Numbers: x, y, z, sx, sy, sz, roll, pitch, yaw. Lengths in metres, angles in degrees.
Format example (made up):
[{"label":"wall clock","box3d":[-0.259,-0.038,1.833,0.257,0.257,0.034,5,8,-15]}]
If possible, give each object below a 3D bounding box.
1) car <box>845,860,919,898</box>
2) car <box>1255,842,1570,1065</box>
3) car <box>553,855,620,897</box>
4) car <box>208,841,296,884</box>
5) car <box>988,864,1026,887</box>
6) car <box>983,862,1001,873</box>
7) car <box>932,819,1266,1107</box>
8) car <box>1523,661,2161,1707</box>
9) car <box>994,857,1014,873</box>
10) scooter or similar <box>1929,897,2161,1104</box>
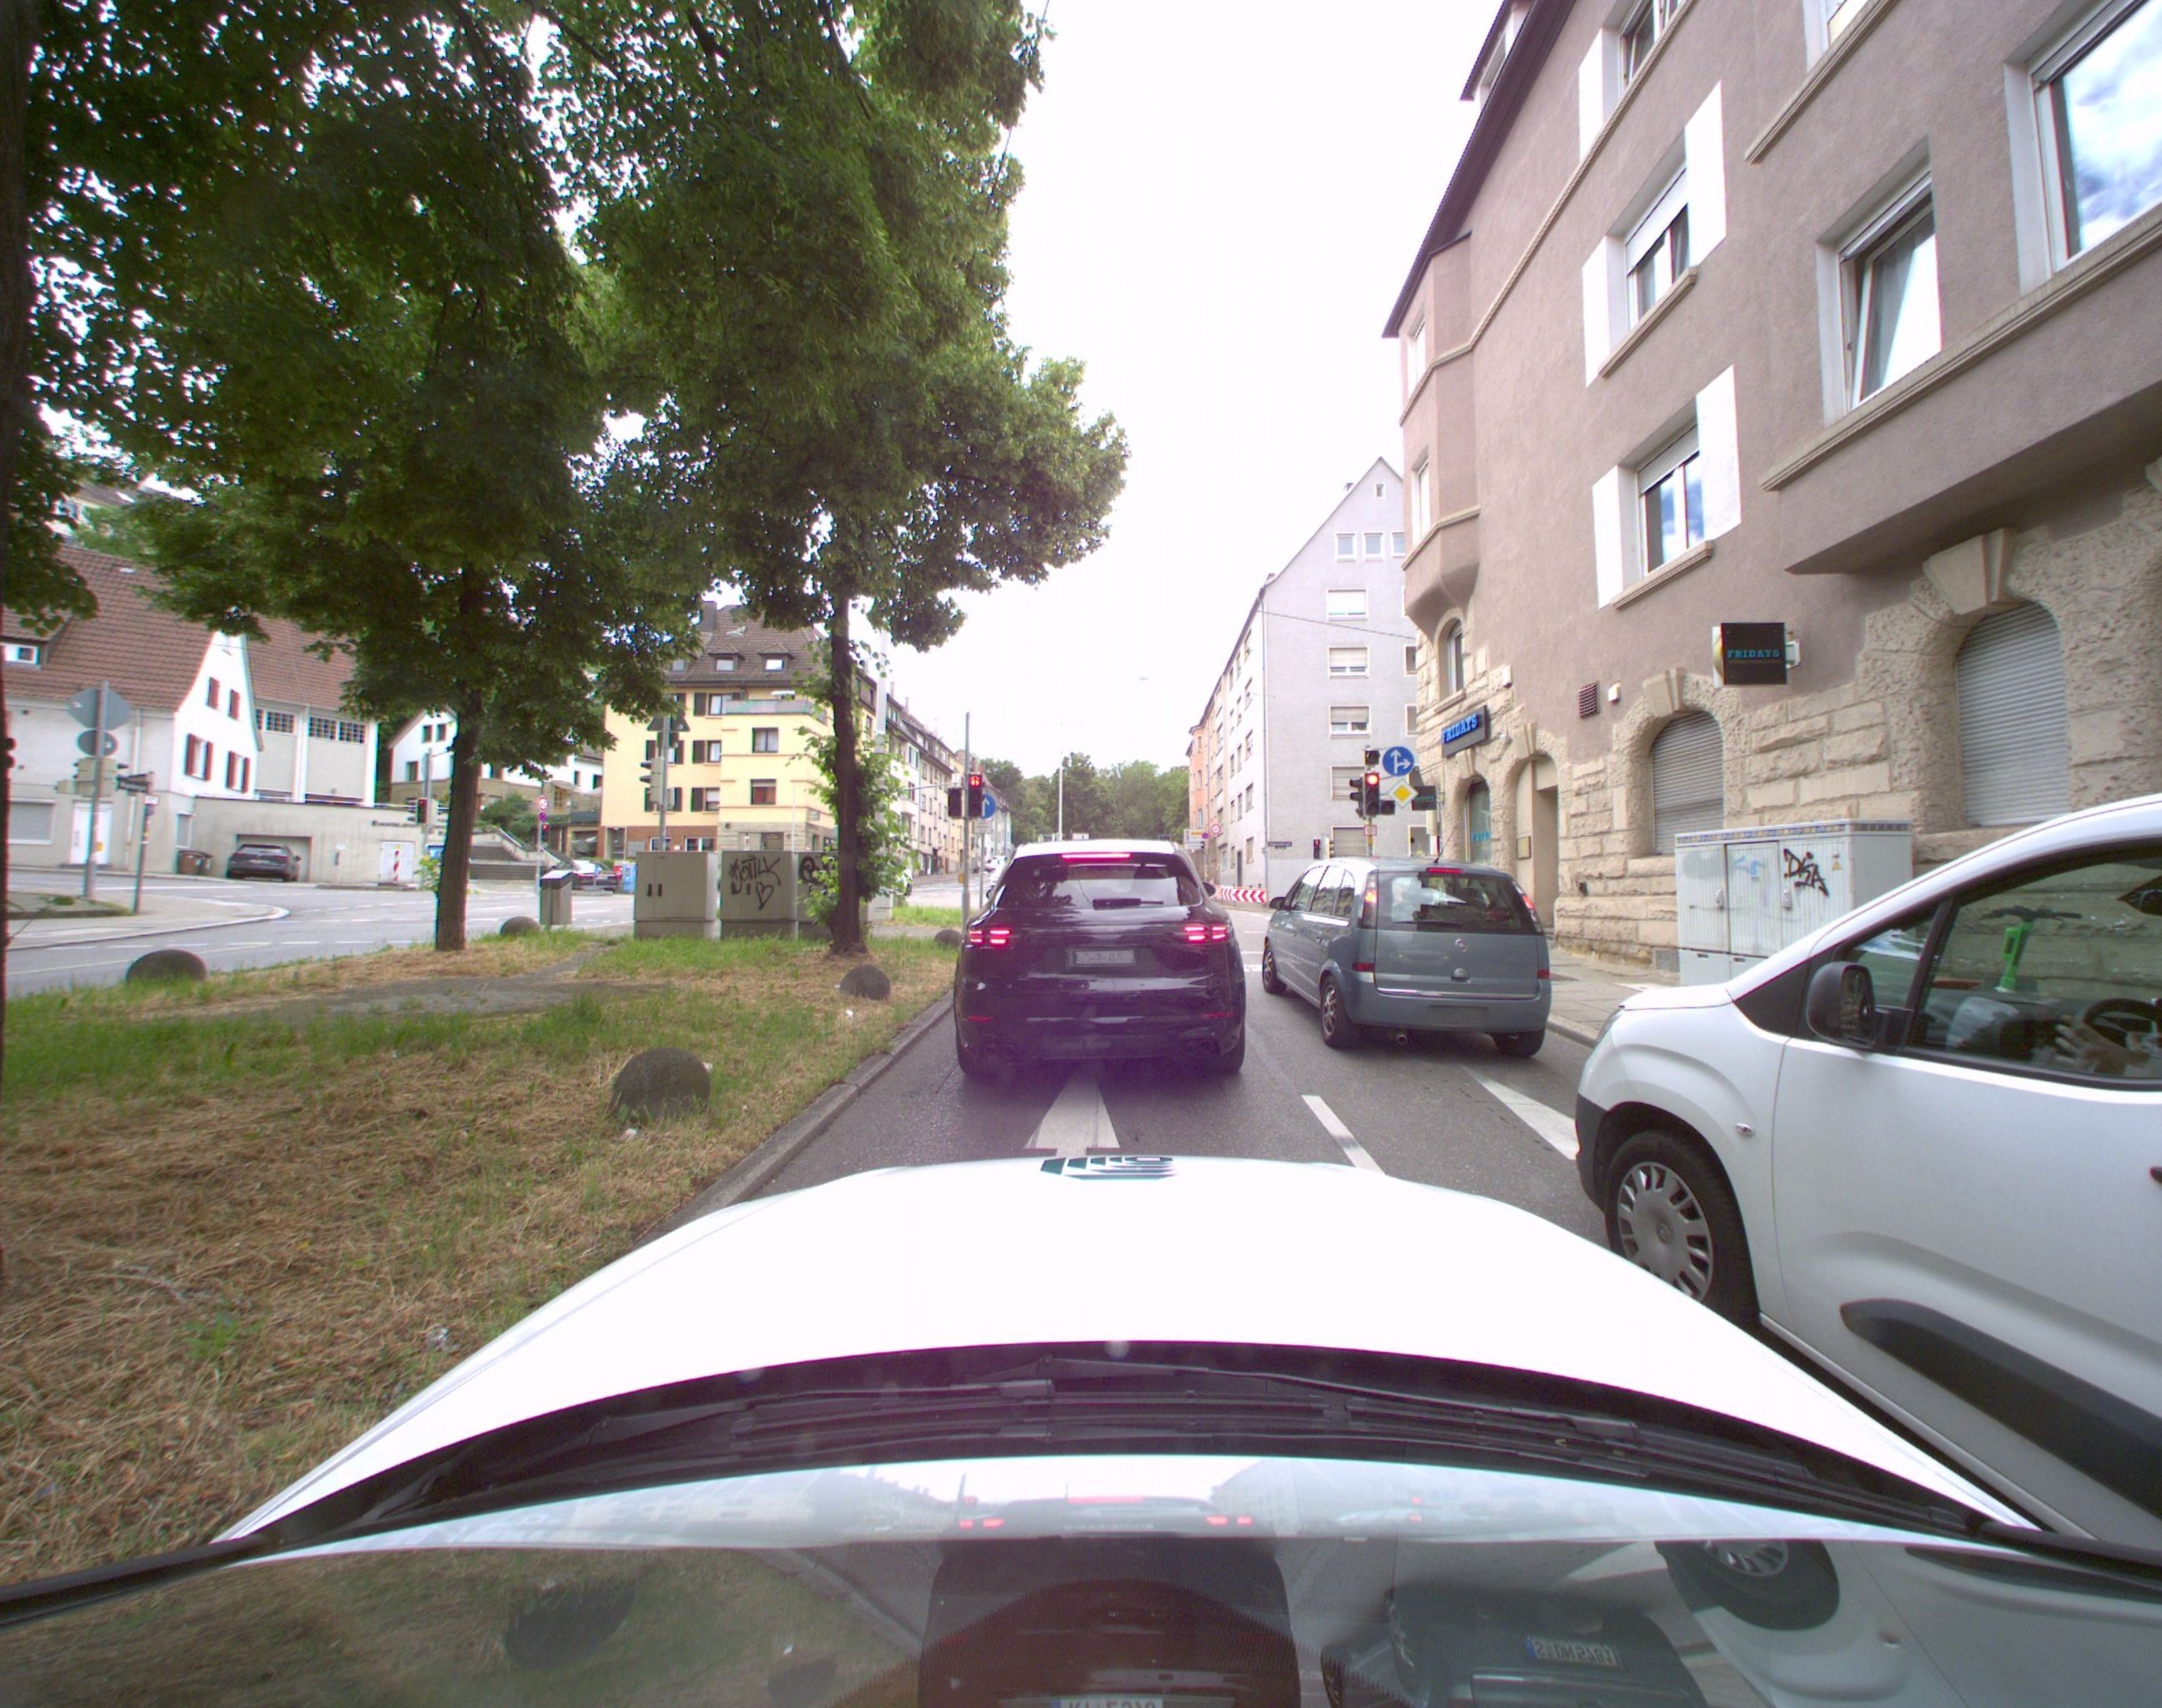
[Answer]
[{"label":"car","box3d":[-8.957,1.091,37.092,1.965,1.610,4.562,0,0,3]},{"label":"car","box3d":[2.876,0.756,7.928,1.622,1.598,3.670,3,0,2]},{"label":"car","box3d":[-23.611,1.006,38.816,3.477,1.596,1.881,7,4,44]},{"label":"car","box3d":[-32.255,0.339,31.683,3.018,1.405,1.681,3,-4,33]},{"label":"car","box3d":[-4.559,1.304,50.837,1.854,1.388,4.096,0,0,2]},{"label":"car","box3d":[-10.826,1.627,99.247,1.732,1.387,3.815,0,0,2]},{"label":"car","box3d":[0.168,0.661,6.828,1.948,1.674,4.001,-1,-1,2]},{"label":"car","box3d":[2.832,0.595,1.042,1.969,1.775,4.676,3,0,0]},{"label":"car","box3d":[-9.898,1.444,105.051,2.008,2.045,4.669,0,-1,2]},{"label":"scooter or similar","box3d":[6.441,0.866,5.245,0.524,1.104,1.424,-1,-1,4]}]
